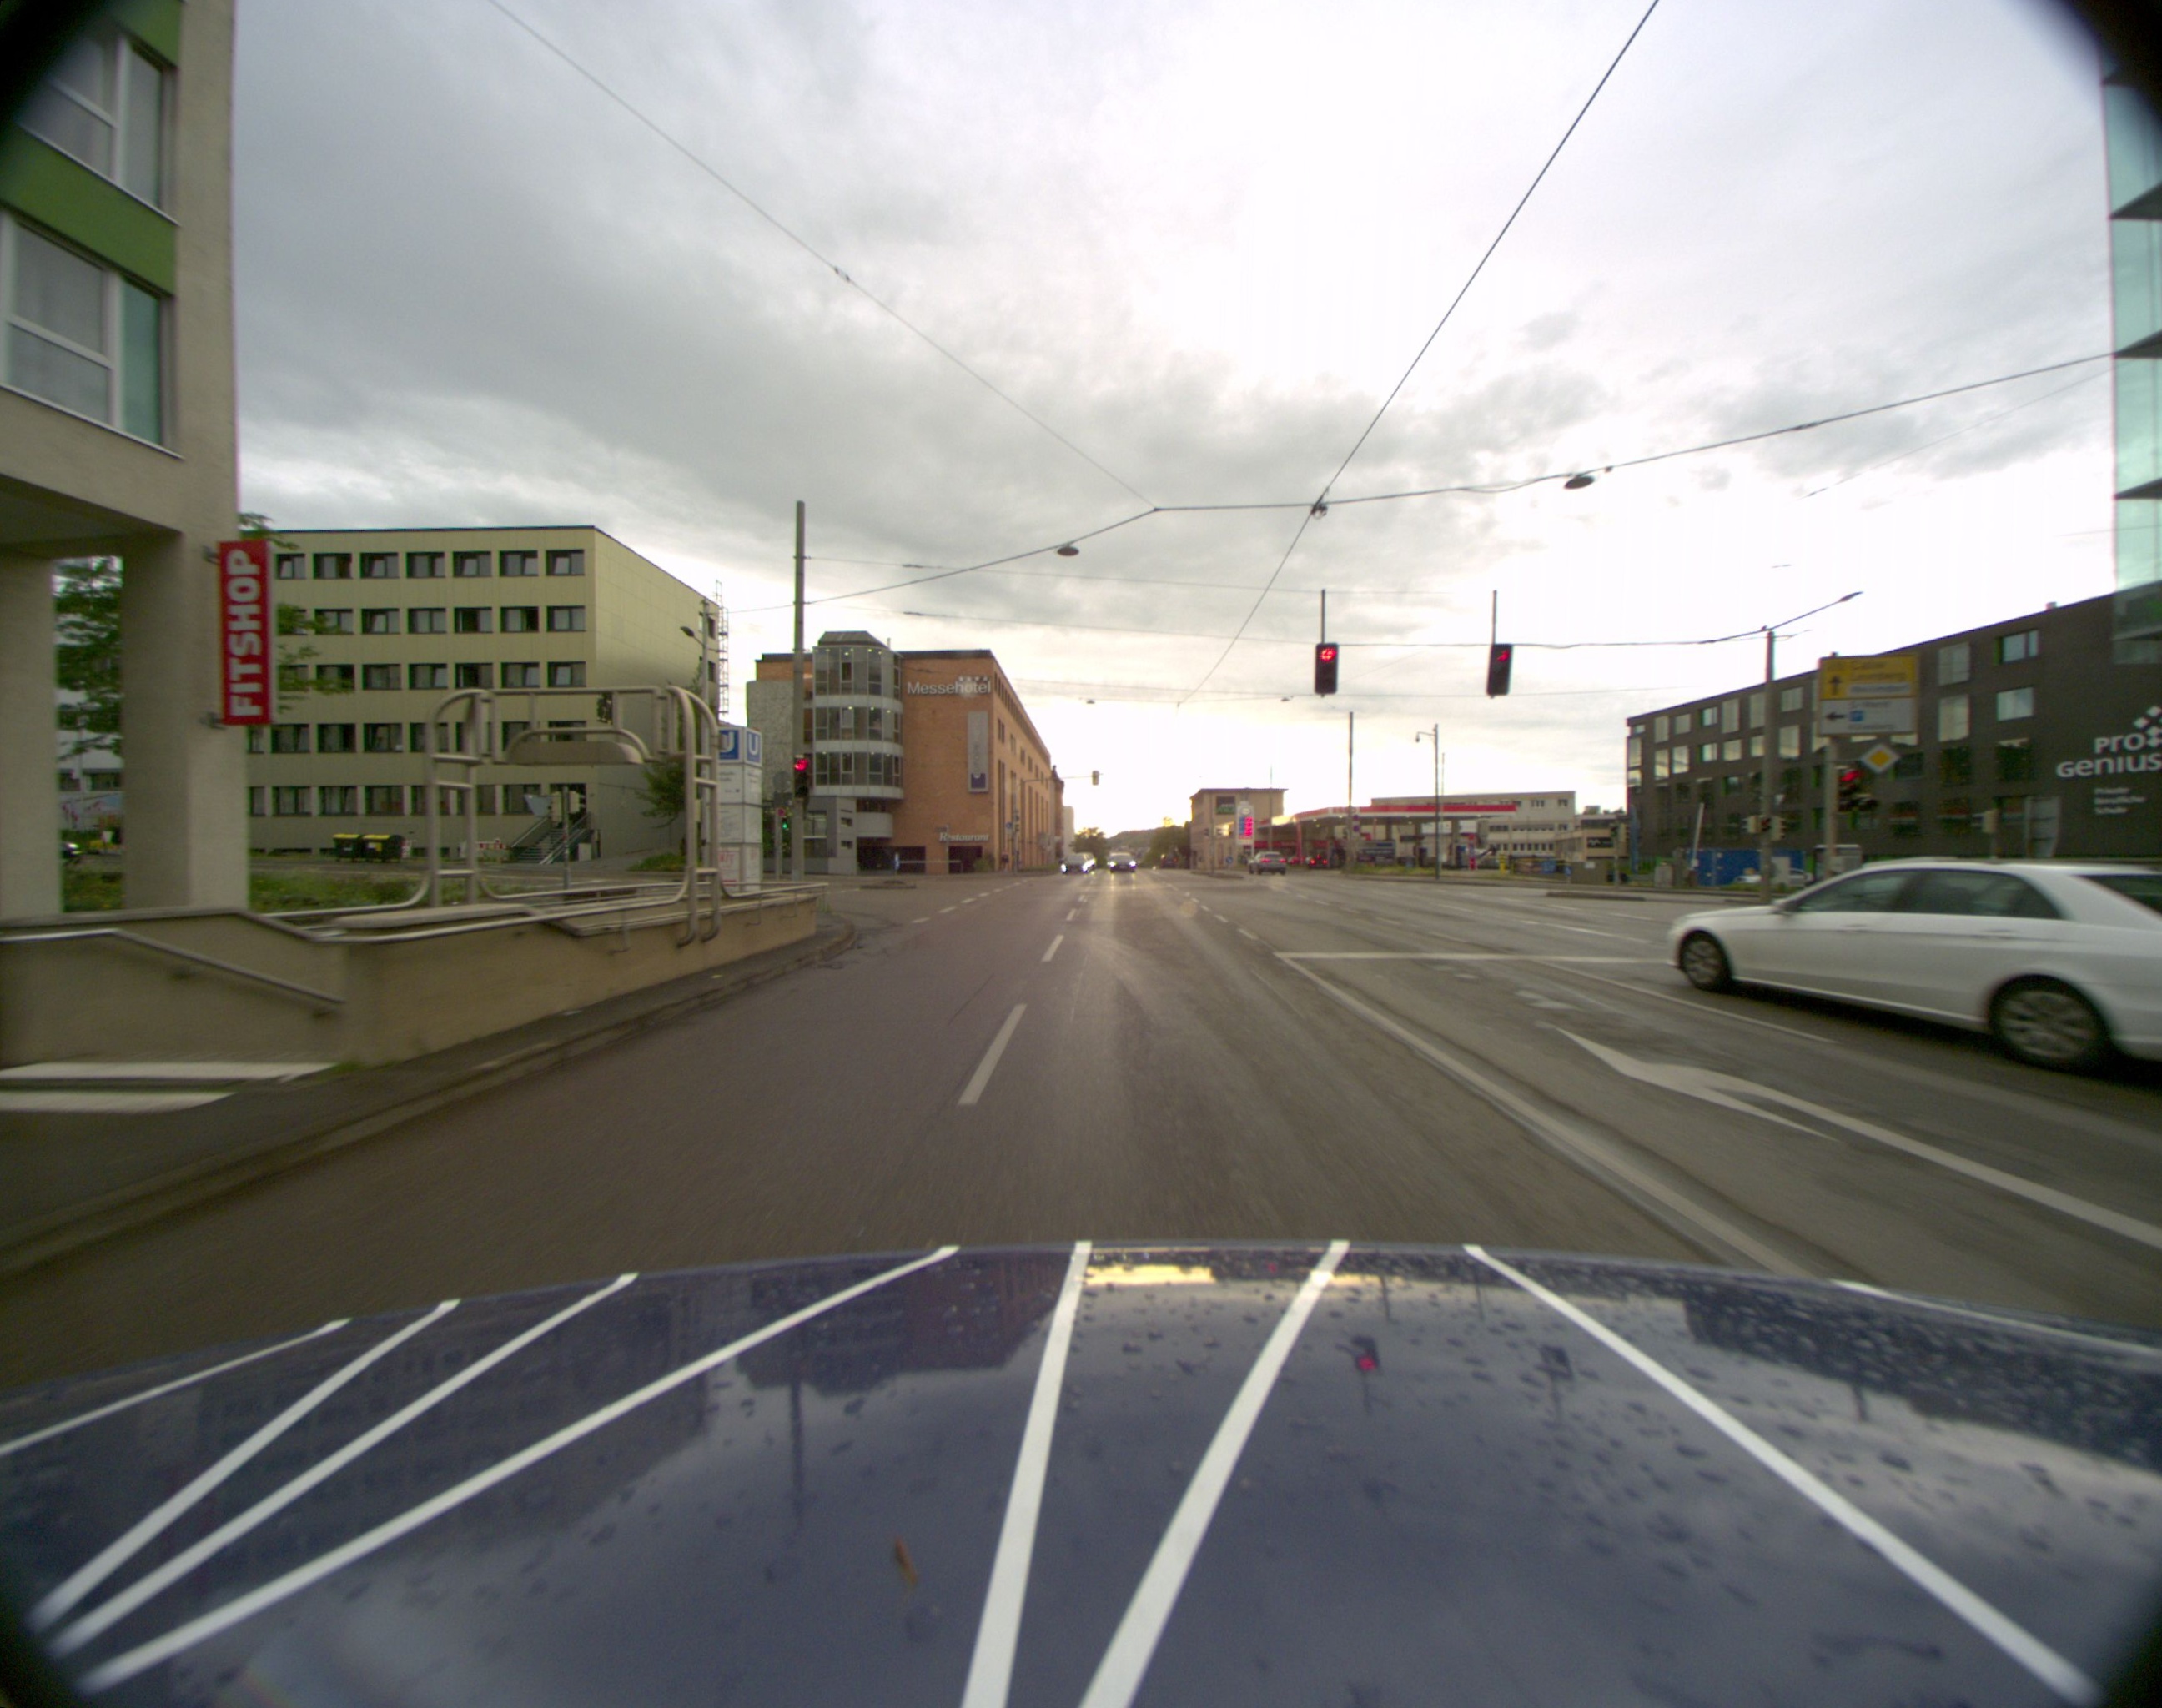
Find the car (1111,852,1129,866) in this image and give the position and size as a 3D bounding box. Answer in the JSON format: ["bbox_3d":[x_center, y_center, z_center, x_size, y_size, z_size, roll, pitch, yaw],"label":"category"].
[{"bbox_3d":[4.048,0.490,77.828,1.696,1.392,4.089,0,0,4],"label":"car"}]

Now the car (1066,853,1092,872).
[{"bbox_3d":[-0.106,0.611,55.367,1.649,1.313,4.000,-1,0,3],"label":"car"}]

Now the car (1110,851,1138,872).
[{"bbox_3d":[3.164,0.529,56.299,1.964,1.516,4.262,-1,0,2],"label":"car"}]

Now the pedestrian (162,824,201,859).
[{"bbox_3d":[-43.947,-0.630,37.117,0.967,1.667,0.769,2,3,4],"label":"pedestrian"}]

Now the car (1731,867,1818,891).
[{"bbox_3d":[46.968,1.694,51.534,3.995,1.281,1.802,3,3,6],"label":"car"}]

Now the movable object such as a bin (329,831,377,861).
[{"bbox_3d":[-37.151,-0.409,38.771,1.429,1.438,1.057,2,4,4],"label":"movable object such as a bin"}]

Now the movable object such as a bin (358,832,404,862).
[{"bbox_3d":[-35.578,-0.372,38.638,1.356,1.438,1.057,2,4,4],"label":"movable object such as a bin"}]

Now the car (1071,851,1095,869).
[{"bbox_3d":[0.206,0.464,62.618,1.696,1.392,4.089,-1,0,4],"label":"car"}]

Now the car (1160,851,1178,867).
[{"bbox_3d":[10.933,0.623,94.264,1.857,1.758,4.131,2,1,2],"label":"car"}]

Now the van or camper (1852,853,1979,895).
[{"bbox_3d":[56.842,1.297,51.966,2.737,2.356,5.345,2,3,2],"label":"van or camper"}]

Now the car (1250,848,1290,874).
[{"bbox_3d":[13.607,0.453,55.017,1.913,1.623,4.209,2,3,2],"label":"car"}]

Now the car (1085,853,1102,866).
[{"bbox_3d":[1.410,0.566,84.828,1.696,1.392,4.089,-1,0,4],"label":"car"}]

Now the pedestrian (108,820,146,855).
[{"bbox_3d":[-48.374,-0.839,38.521,0.941,1.722,0.757,2,3,4],"label":"pedestrian"}]

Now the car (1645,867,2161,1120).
[{"bbox_3d":[7.419,0.879,6.336,1.821,1.379,4.963,0,1,1],"label":"car"}]

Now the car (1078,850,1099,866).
[{"bbox_3d":[0.735,0.381,69.937,1.696,1.392,4.089,-1,0,4],"label":"car"}]

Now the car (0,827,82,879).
[{"bbox_3d":[-37.230,-0.078,25.893,3.995,1.565,2.000,2,3,5],"label":"car"}]
